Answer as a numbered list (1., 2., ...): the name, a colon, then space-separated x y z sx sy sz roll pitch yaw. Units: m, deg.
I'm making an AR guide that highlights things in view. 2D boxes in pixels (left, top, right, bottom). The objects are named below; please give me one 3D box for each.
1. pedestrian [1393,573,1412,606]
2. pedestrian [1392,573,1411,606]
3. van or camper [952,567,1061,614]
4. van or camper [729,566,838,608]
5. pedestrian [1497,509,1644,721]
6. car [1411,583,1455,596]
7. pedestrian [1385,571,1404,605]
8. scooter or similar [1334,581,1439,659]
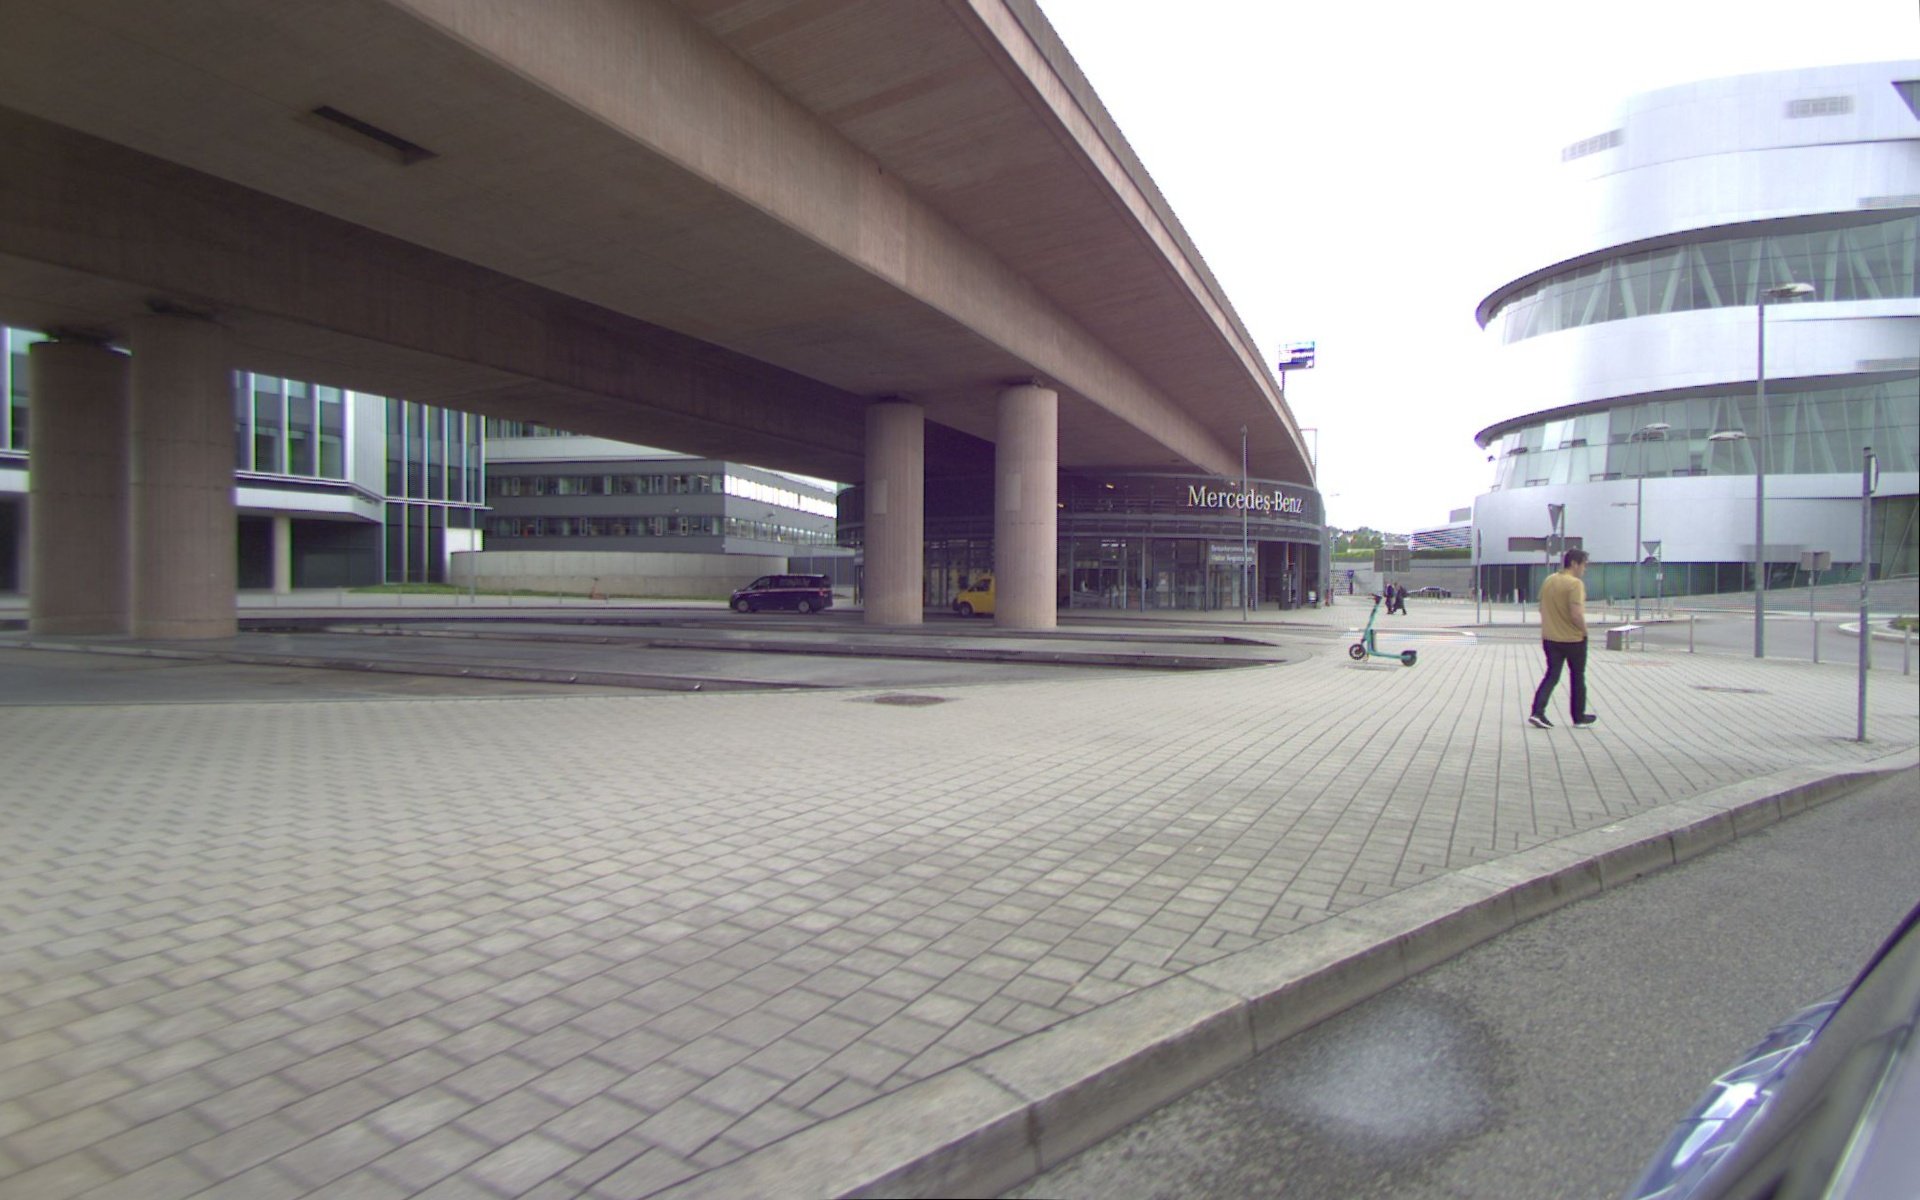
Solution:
1. pedestrian: 23.765 -0.577 54.419 0.761 1.726 0.784 1 0 13
2. pedestrian: 23.387 -0.560 53.618 0.761 1.726 0.862 1 0 12
3. van or camper: 2.145 -0.424 46.698 4.457 2.025 2.342 1 -1 25
4. van or camper: -8.655 -0.660 49.701 4.823 1.917 2.148 1 0 10
5. pedestrian: 6.172 0.147 10.260 1.018 2.039 0.786 1 0 -20
6. car: 59.734 -1.326 127.878 4.845 1.416 1.525 1 0 20
7. pedestrian: 23.756 -0.648 55.316 0.771 1.821 0.863 1 0 11
8. scooter or similar: 7.646 0.329 18.187 1.645 1.312 0.510 2 1 45
